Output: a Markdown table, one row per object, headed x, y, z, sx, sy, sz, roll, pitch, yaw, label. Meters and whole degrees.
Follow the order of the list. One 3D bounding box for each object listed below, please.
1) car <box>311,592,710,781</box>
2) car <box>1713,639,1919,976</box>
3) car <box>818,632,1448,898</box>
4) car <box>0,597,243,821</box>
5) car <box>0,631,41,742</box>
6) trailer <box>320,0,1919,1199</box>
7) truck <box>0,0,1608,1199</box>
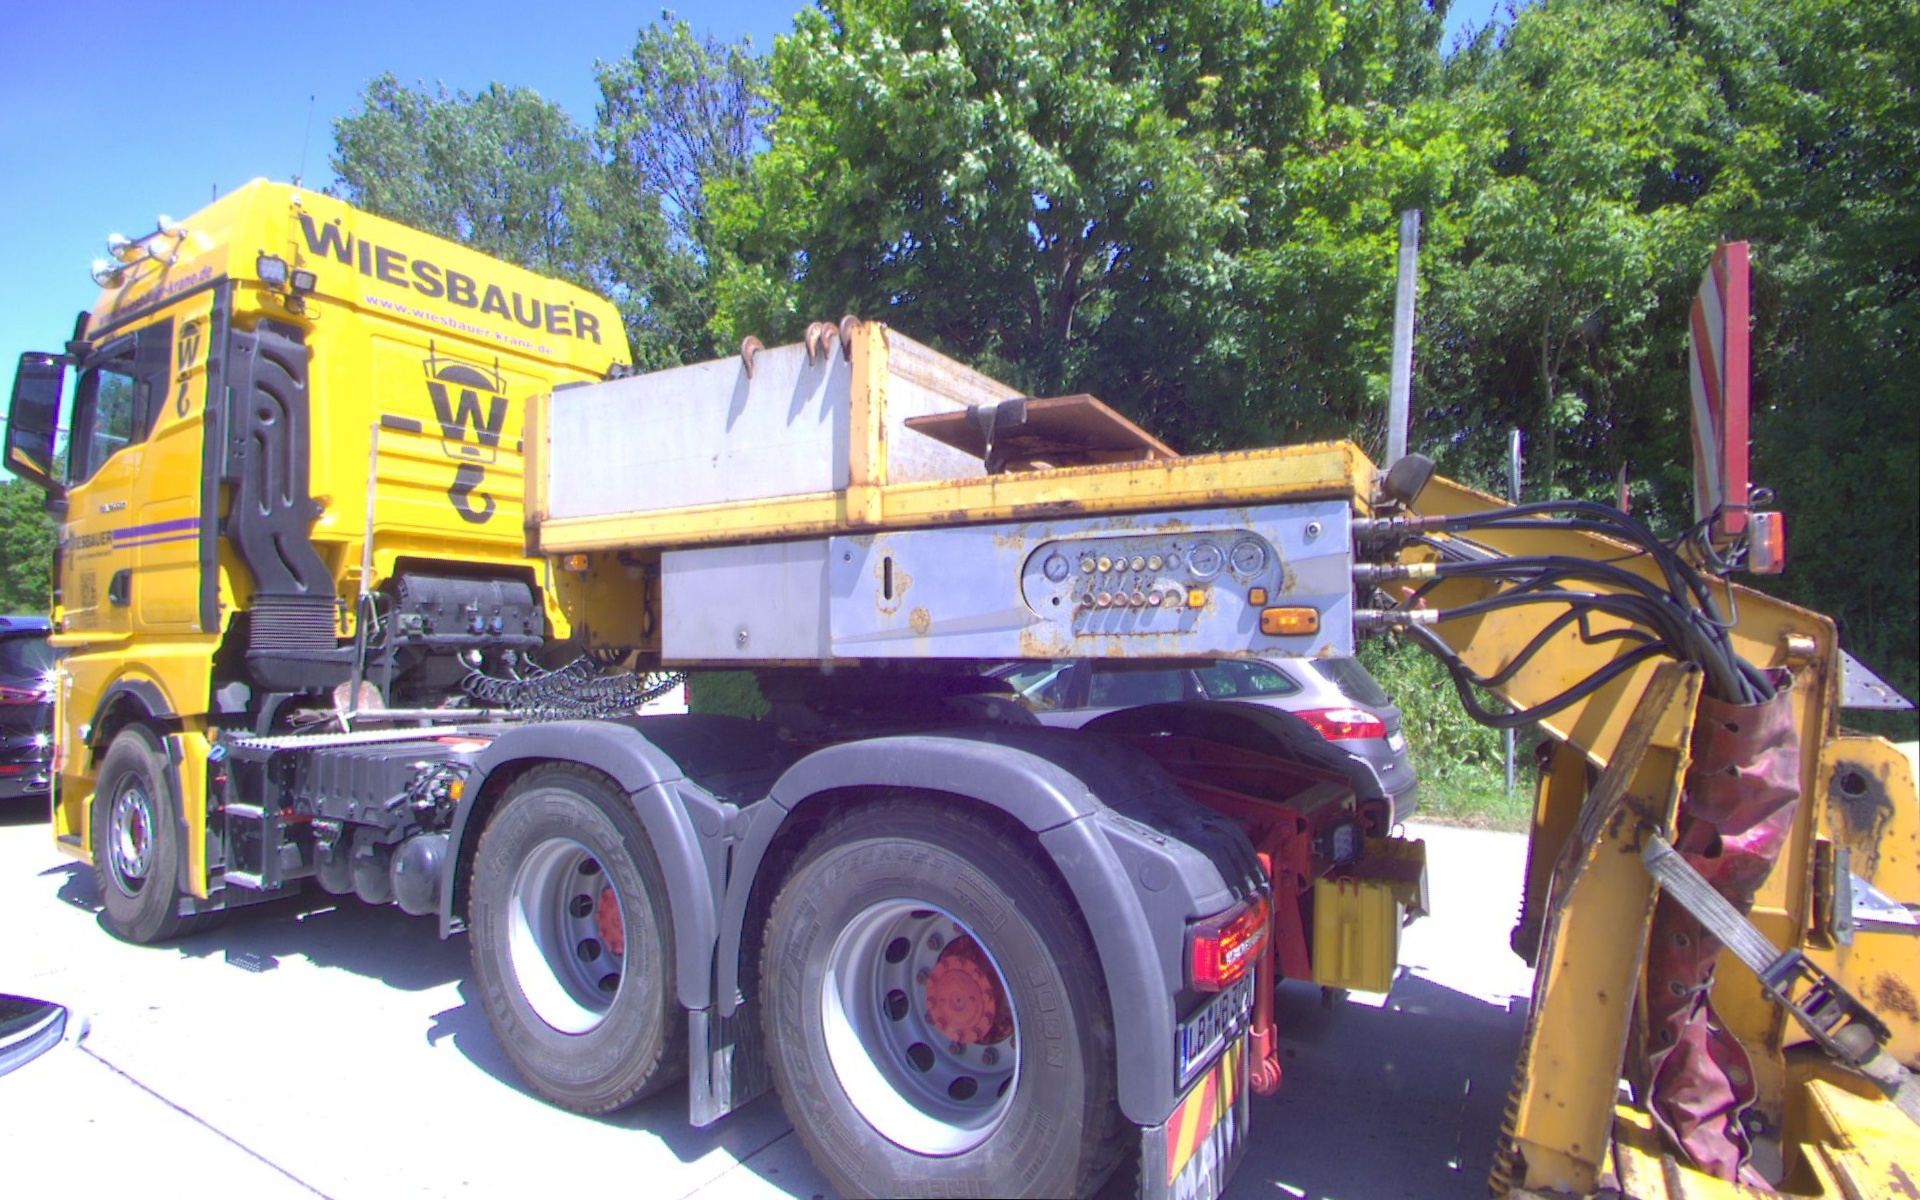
| x | y | z | sx | sy | sz | roll | pitch | yaw | label |
| --- | --- | --- | --- | --- | --- | --- | --- | --- | --- |
| -5.291 | 0.909 | 11.618 | 4.720 | 1.830 | 1.766 | -1 | -2 | 29 | car |
| 6.206 | 0.917 | 4.311 | 4.530 | 1.481 | 1.766 | -1 | -2 | 30 | car |
| 1.180 | 0.993 | 7.470 | 4.300 | 1.481 | 1.765 | -1 | -2 | 31 | car |
| -8.663 | 0.876 | 9.252 | 4.582 | 1.660 | 1.780 | -1 | -2 | 33 | car |
| -14.510 | 1.159 | 13.832 | 4.548 | 1.428 | 1.763 | -2 | -2 | 35 | car |
| 5.428 | 0.193 | 0.620 | 16.117 | 2.626 | 3.023 | -1 | -2 | 31 | trailer |
| -1.388 | -0.332 | 4.772 | 7.361 | 3.821 | 3.009 | -1 | -2 | 31 | truck |
